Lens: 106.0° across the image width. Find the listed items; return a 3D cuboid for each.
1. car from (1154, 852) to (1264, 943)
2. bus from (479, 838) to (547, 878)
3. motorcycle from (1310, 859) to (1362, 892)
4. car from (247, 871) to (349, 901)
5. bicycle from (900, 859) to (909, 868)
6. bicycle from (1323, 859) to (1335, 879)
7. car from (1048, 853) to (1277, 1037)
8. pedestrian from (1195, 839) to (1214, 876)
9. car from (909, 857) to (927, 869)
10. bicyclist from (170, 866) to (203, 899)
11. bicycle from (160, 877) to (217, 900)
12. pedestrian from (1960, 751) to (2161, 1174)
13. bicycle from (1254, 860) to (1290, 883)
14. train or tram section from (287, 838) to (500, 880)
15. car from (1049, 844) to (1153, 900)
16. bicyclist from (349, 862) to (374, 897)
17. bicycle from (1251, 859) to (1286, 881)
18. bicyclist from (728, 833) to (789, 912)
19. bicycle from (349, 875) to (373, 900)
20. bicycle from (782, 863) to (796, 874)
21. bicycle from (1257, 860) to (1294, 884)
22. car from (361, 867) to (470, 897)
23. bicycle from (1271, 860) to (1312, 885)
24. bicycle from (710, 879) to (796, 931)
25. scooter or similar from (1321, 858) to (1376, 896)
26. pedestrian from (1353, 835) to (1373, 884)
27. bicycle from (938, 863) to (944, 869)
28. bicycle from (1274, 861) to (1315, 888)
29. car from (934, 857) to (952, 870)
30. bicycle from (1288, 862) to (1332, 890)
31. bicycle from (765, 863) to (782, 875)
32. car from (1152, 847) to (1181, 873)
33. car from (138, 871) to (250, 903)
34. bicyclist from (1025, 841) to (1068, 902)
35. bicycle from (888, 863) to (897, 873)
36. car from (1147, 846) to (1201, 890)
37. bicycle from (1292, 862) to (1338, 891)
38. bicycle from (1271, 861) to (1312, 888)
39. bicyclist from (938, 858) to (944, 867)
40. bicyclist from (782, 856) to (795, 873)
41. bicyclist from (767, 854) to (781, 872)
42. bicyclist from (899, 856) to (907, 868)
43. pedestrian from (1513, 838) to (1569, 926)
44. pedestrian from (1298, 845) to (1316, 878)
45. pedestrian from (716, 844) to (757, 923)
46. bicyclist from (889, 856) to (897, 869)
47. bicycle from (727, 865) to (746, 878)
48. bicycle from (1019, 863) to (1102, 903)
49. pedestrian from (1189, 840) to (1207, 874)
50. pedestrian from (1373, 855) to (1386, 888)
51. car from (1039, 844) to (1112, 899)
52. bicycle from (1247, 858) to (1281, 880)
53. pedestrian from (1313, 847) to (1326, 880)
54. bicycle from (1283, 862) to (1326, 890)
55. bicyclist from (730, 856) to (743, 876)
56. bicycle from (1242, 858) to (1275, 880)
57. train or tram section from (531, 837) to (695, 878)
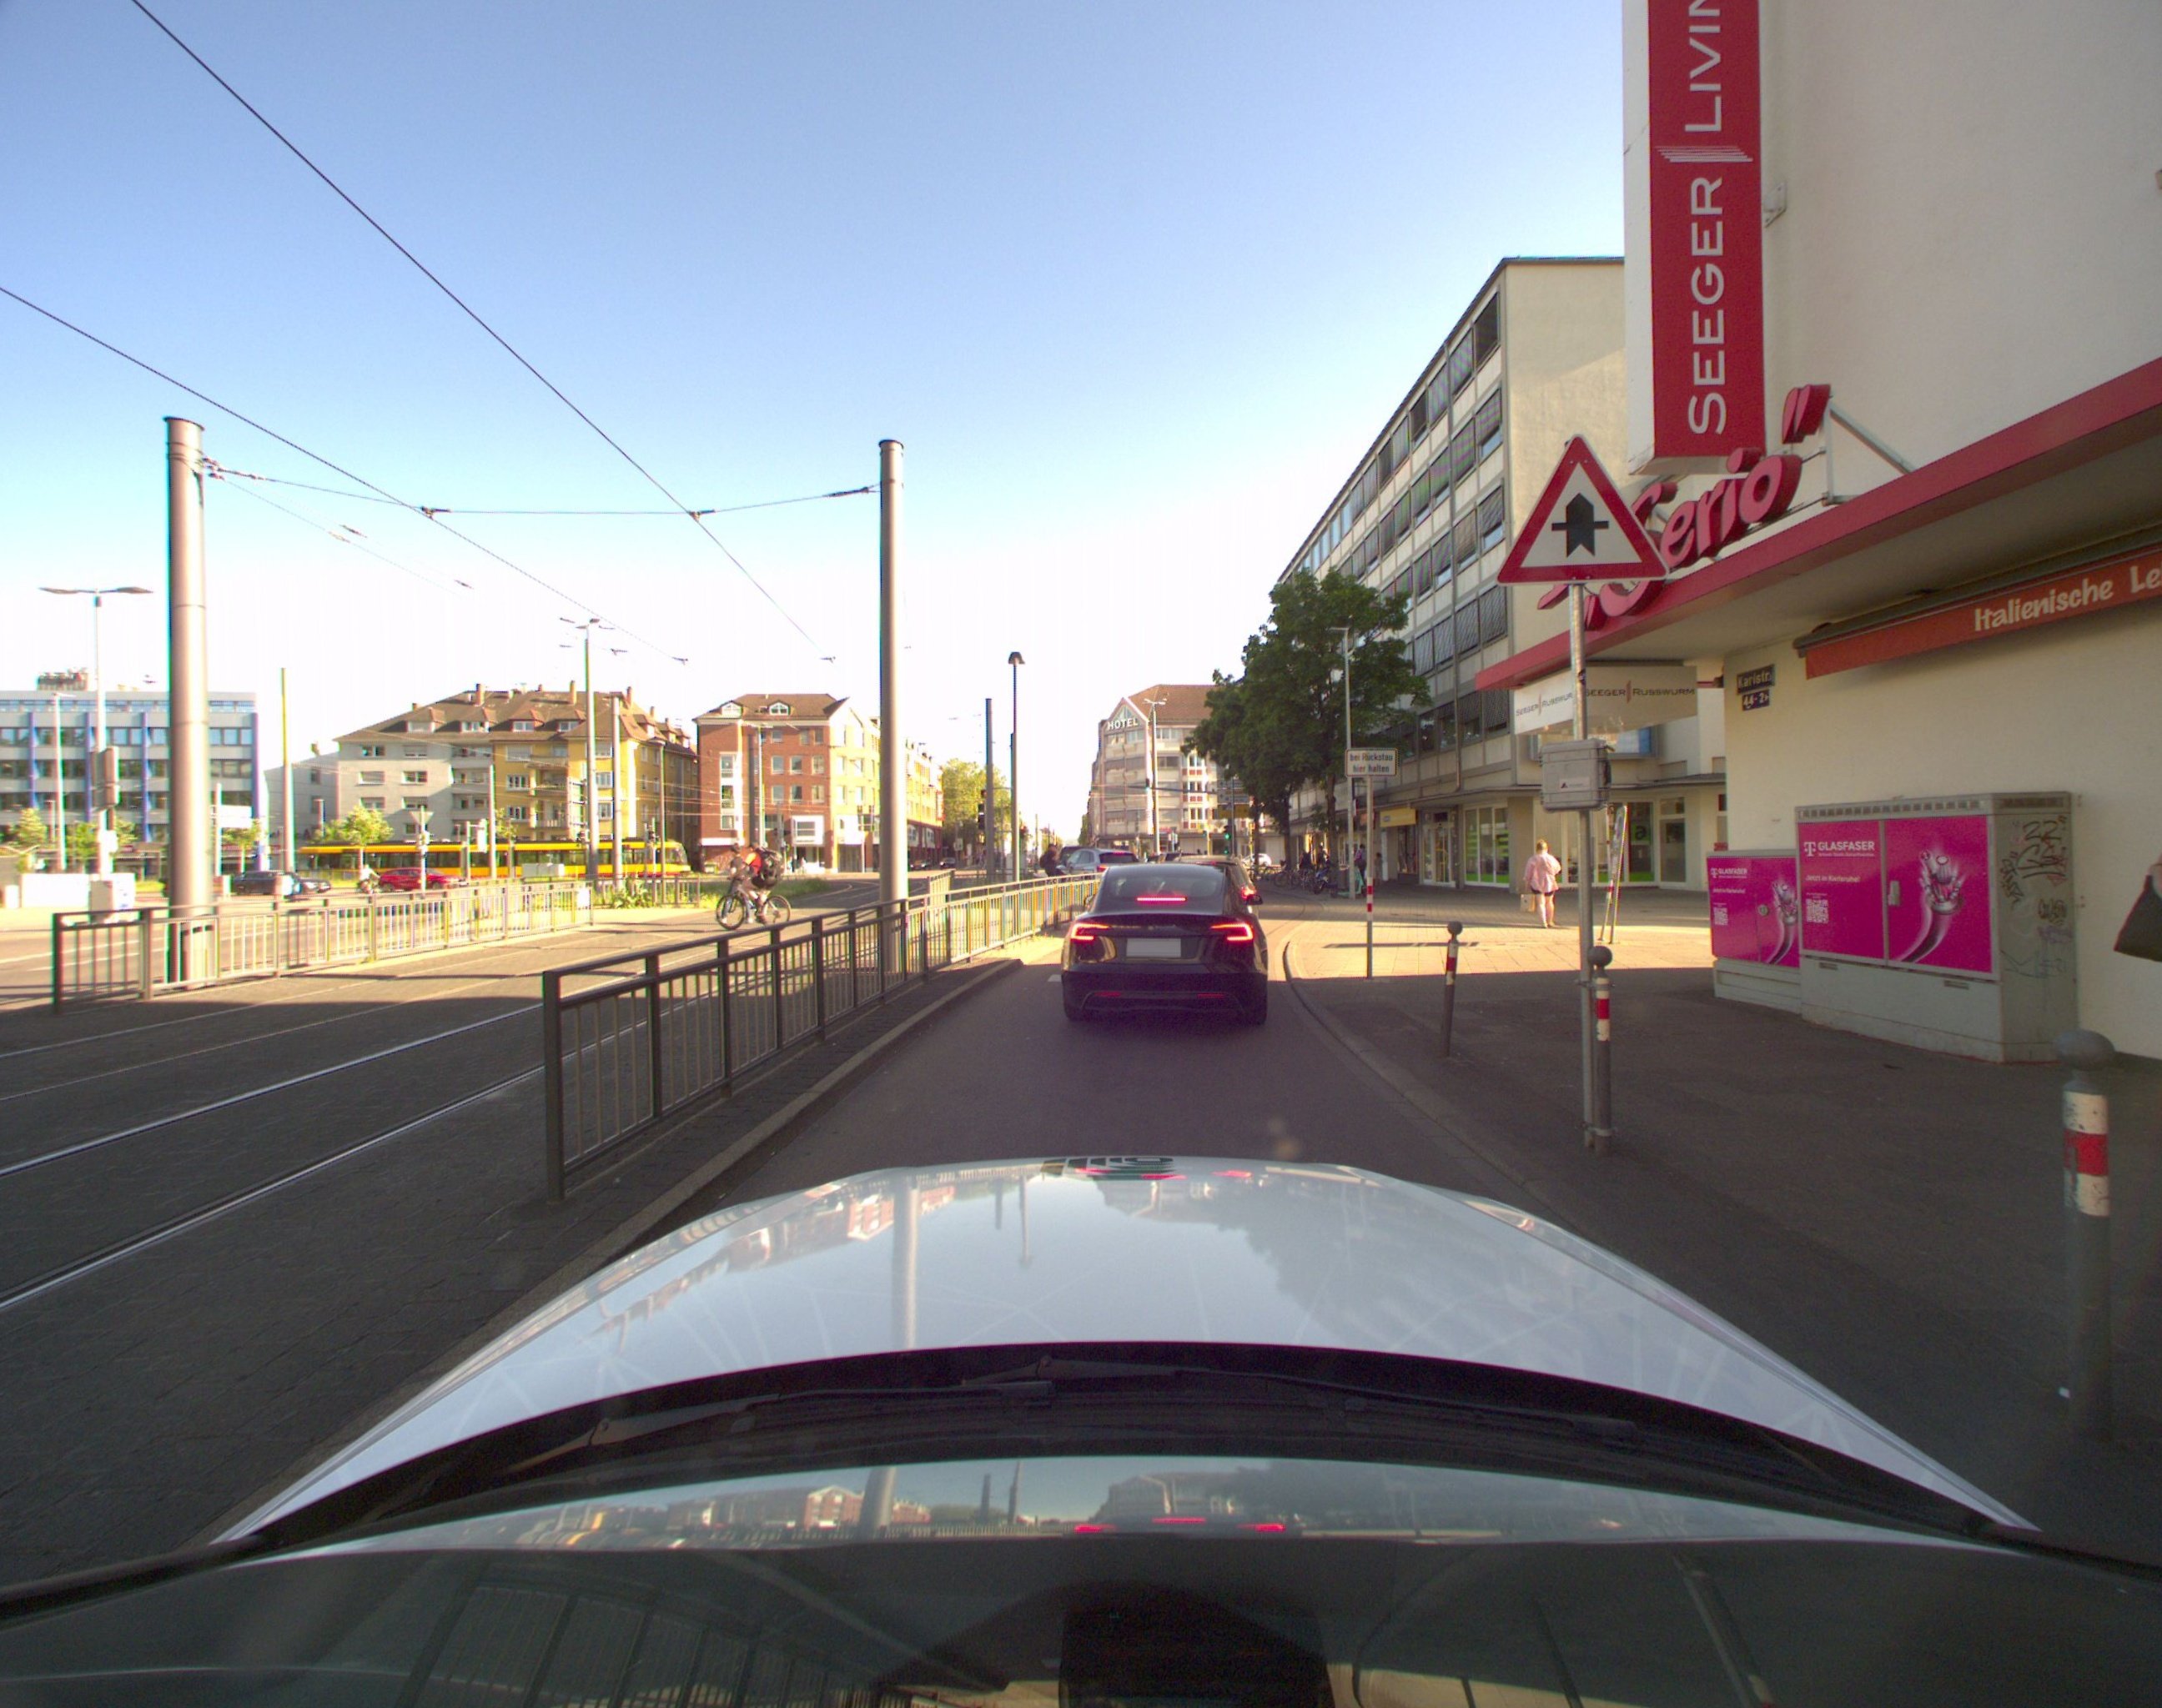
[{"bbox_3d":[2.341,0.695,15.113,1.741,1.454,4.009,-1,0,8],"label":"car"},{"bbox_3d":[-45.322,0.311,65.084,3.514,3.131,2.763,0,-1,-8],"label":"bus"},{"bbox_3d":[9.142,0.766,29.225,1.701,1.173,0.541,0,-1,0],"label":"motorcycle"},{"bbox_3d":[-45.497,1.834,47.390,3.984,1.672,1.772,0,-1,-8],"label":"car"},{"bbox_3d":[-22.503,1.227,103.988,0.527,1.088,2.286,-1,0,4],"label":"bicycle"},{"bbox_3d":[12.741,0.770,41.850,0.330,1.034,1.258,0,-1,6],"label":"bicycle"},{"bbox_3d":[0.884,0.745,8.543,1.820,1.455,4.007,0,-1,7],"label":"car"},{"bbox_3d":[6.897,0.190,45.654,0.917,2.014,0.973,0,-1,1],"label":"pedestrian"},{"bbox_3d":[-20.696,1.137,103.426,1.706,1.527,4.032,0,-1,-3],"label":"car"},{"bbox_3d":[-49.155,1.543,44.759,0.901,1.808,0.788,0,-1,-11],"label":"bicyclist"},{"bbox_3d":[-49.060,1.907,44.770,2.188,1.214,0.544,0,-1,-11],"label":"bicycle"},{"bbox_3d":[4.920,0.443,3.605,0.912,1.752,1.037,-1,0,-2],"label":"pedestrian"},{"bbox_3d":[9.202,0.838,39.250,1.643,1.099,0.350,0,-1,3],"label":"bicycle"},{"bbox_3d":[-53.849,0.368,64.128,13.650,3.131,2.729,0,-1,-5],"label":"train or tram section"},{"bbox_3d":[0.561,0.554,26.657,1.891,1.662,4.126,0,-1,-23],"label":"car"},{"bbox_3d":[-36.490,1.268,41.309,0.743,1.759,0.763,-1,-1,33],"label":"bicyclist"},{"bbox_3d":[9.278,0.794,40.263,1.643,1.099,0.350,0,-1,3],"label":"bicycle"},{"bbox_3d":[-6.276,0.359,15.853,1.034,1.521,0.393,-1,-1,9],"label":"bicyclist"},{"bbox_3d":[-36.460,1.686,41.232,1.831,1.222,0.488,-1,-1,34],"label":"bicycle"},{"bbox_3d":[-26.880,1.352,74.949,0.402,0.981,1.699,-1,-1,10],"label":"bicycle"},{"bbox_3d":[9.137,0.833,38.224,1.643,1.099,0.350,0,-1,3],"label":"bicycle"},{"bbox_3d":[-39.460,1.649,48.385,4.585,1.700,1.993,0,-1,-10],"label":"car"},{"bbox_3d":[9.115,0.804,35.271,1.643,1.099,0.350,0,-1,3],"label":"bicycle"},{"bbox_3d":[-6.390,0.983,15.882,1.587,0.994,0.405,-1,-1,10],"label":"bicycle"},{"bbox_3d":[8.895,0.761,27.111,1.625,1.215,0.649,-1,-1,32],"label":"scooter or similar"},{"bbox_3d":[11.803,0.241,34.071,0.659,2.014,0.580,0,-1,4],"label":"pedestrian"},{"bbox_3d":[-23.175,1.968,135.087,0.527,1.088,2.227,0,-1,4],"label":"bicycle"},{"bbox_3d":[8.935,0.841,34.025,1.649,1.099,0.349,0,-1,-9],"label":"bicycle"},{"bbox_3d":[-18.039,1.234,106.495,1.692,1.731,3.706,0,-1,0],"label":"car"},{"bbox_3d":[8.814,0.857,31.375,1.649,1.061,0.349,0,-1,-9],"label":"bicycle"},{"bbox_3d":[-25.841,1.289,68.525,0.522,0.972,2.247,0,-1,2],"label":"bicycle"},{"bbox_3d":[5.914,0.433,56.433,1.713,1.751,3.755,0,-1,2],"label":"car"},{"bbox_3d":[-50.626,1.874,46.572,3.952,1.685,1.903,0,-1,-11],"label":"car"},{"bbox_3d":[-0.939,0.461,22.322,0.763,1.628,0.967,0,-1,-37],"label":"bicyclist"},{"bbox_3d":[-22.687,1.664,97.974,0.535,1.088,2.223,0,-1,-1],"label":"bicycle"},{"bbox_3d":[3.887,0.581,34.582,1.595,1.778,3.976,0,-1,-3],"label":"car"},{"bbox_3d":[8.892,0.857,30.951,1.649,1.099,0.349,0,-1,-9],"label":"bicycle"},{"bbox_3d":[8.614,0.844,33.332,1.649,1.099,0.349,0,-1,-9],"label":"bicycle"},{"bbox_3d":[-23.189,1.372,134.978,0.780,1.563,0.747,0,-1,3],"label":"bicyclist"},{"bbox_3d":[-26.897,0.970,74.969,0.699,1.471,0.975,-1,0,9],"label":"bicyclist"},{"bbox_3d":[-25.834,0.766,68.525,0.895,1.503,0.696,0,-1,1],"label":"bicyclist"},{"bbox_3d":[-22.611,1.029,103.390,0.780,1.563,0.747,-1,0,3],"label":"bicyclist"},{"bbox_3d":[9.026,0.535,16.002,0.881,1.667,0.813,-1,-1,25],"label":"pedestrian"},{"bbox_3d":[11.613,0.377,41.916,0.697,1.662,0.777,0,-1,1],"label":"pedestrian"},{"bbox_3d":[-7.460,0.630,17.666,0.589,1.681,0.773,0,-1,-3],"label":"pedestrian"},{"bbox_3d":[-22.718,1.003,98.509,0.781,1.563,0.746,0,-1,0],"label":"bicyclist"},{"bbox_3d":[-26.070,1.324,61.641,0.445,0.972,2.247,0,-1,2],"label":"bicycle"},{"bbox_3d":[-0.545,0.788,22.570,2.346,1.053,0.624,0,-1,-36],"label":"bicycle"},{"bbox_3d":[6.951,0.179,48.370,0.917,2.014,0.973,0,-1,1],"label":"pedestrian"},{"bbox_3d":[12.380,0.722,33.782,0.388,1.343,0.513,0,-1,4],"label":"pedestrian"},{"bbox_3d":[-0.283,0.662,32.647,1.997,2.014,3.980,-1,0,-15],"label":"car"},{"bbox_3d":[9.260,0.757,41.311,1.643,1.099,0.350,-1,0,3],"label":"bicycle"},{"bbox_3d":[12.324,0.477,42.092,0.523,1.710,0.404,0,-1,5],"label":"pedestrian"},{"bbox_3d":[8.728,0.856,31.801,1.649,1.099,0.349,0,-1,-9],"label":"bicycle"},{"bbox_3d":[-26.074,0.913,61.648,0.631,1.503,0.696,0,-1,1],"label":"bicyclist"},{"bbox_3d":[9.241,0.787,42.405,1.643,1.099,0.350,0,-1,3],"label":"bicycle"},{"bbox_3d":[-37.964,0.267,66.492,11.235,3.131,2.794,0,-1,-11],"label":"train or tram section"}]
